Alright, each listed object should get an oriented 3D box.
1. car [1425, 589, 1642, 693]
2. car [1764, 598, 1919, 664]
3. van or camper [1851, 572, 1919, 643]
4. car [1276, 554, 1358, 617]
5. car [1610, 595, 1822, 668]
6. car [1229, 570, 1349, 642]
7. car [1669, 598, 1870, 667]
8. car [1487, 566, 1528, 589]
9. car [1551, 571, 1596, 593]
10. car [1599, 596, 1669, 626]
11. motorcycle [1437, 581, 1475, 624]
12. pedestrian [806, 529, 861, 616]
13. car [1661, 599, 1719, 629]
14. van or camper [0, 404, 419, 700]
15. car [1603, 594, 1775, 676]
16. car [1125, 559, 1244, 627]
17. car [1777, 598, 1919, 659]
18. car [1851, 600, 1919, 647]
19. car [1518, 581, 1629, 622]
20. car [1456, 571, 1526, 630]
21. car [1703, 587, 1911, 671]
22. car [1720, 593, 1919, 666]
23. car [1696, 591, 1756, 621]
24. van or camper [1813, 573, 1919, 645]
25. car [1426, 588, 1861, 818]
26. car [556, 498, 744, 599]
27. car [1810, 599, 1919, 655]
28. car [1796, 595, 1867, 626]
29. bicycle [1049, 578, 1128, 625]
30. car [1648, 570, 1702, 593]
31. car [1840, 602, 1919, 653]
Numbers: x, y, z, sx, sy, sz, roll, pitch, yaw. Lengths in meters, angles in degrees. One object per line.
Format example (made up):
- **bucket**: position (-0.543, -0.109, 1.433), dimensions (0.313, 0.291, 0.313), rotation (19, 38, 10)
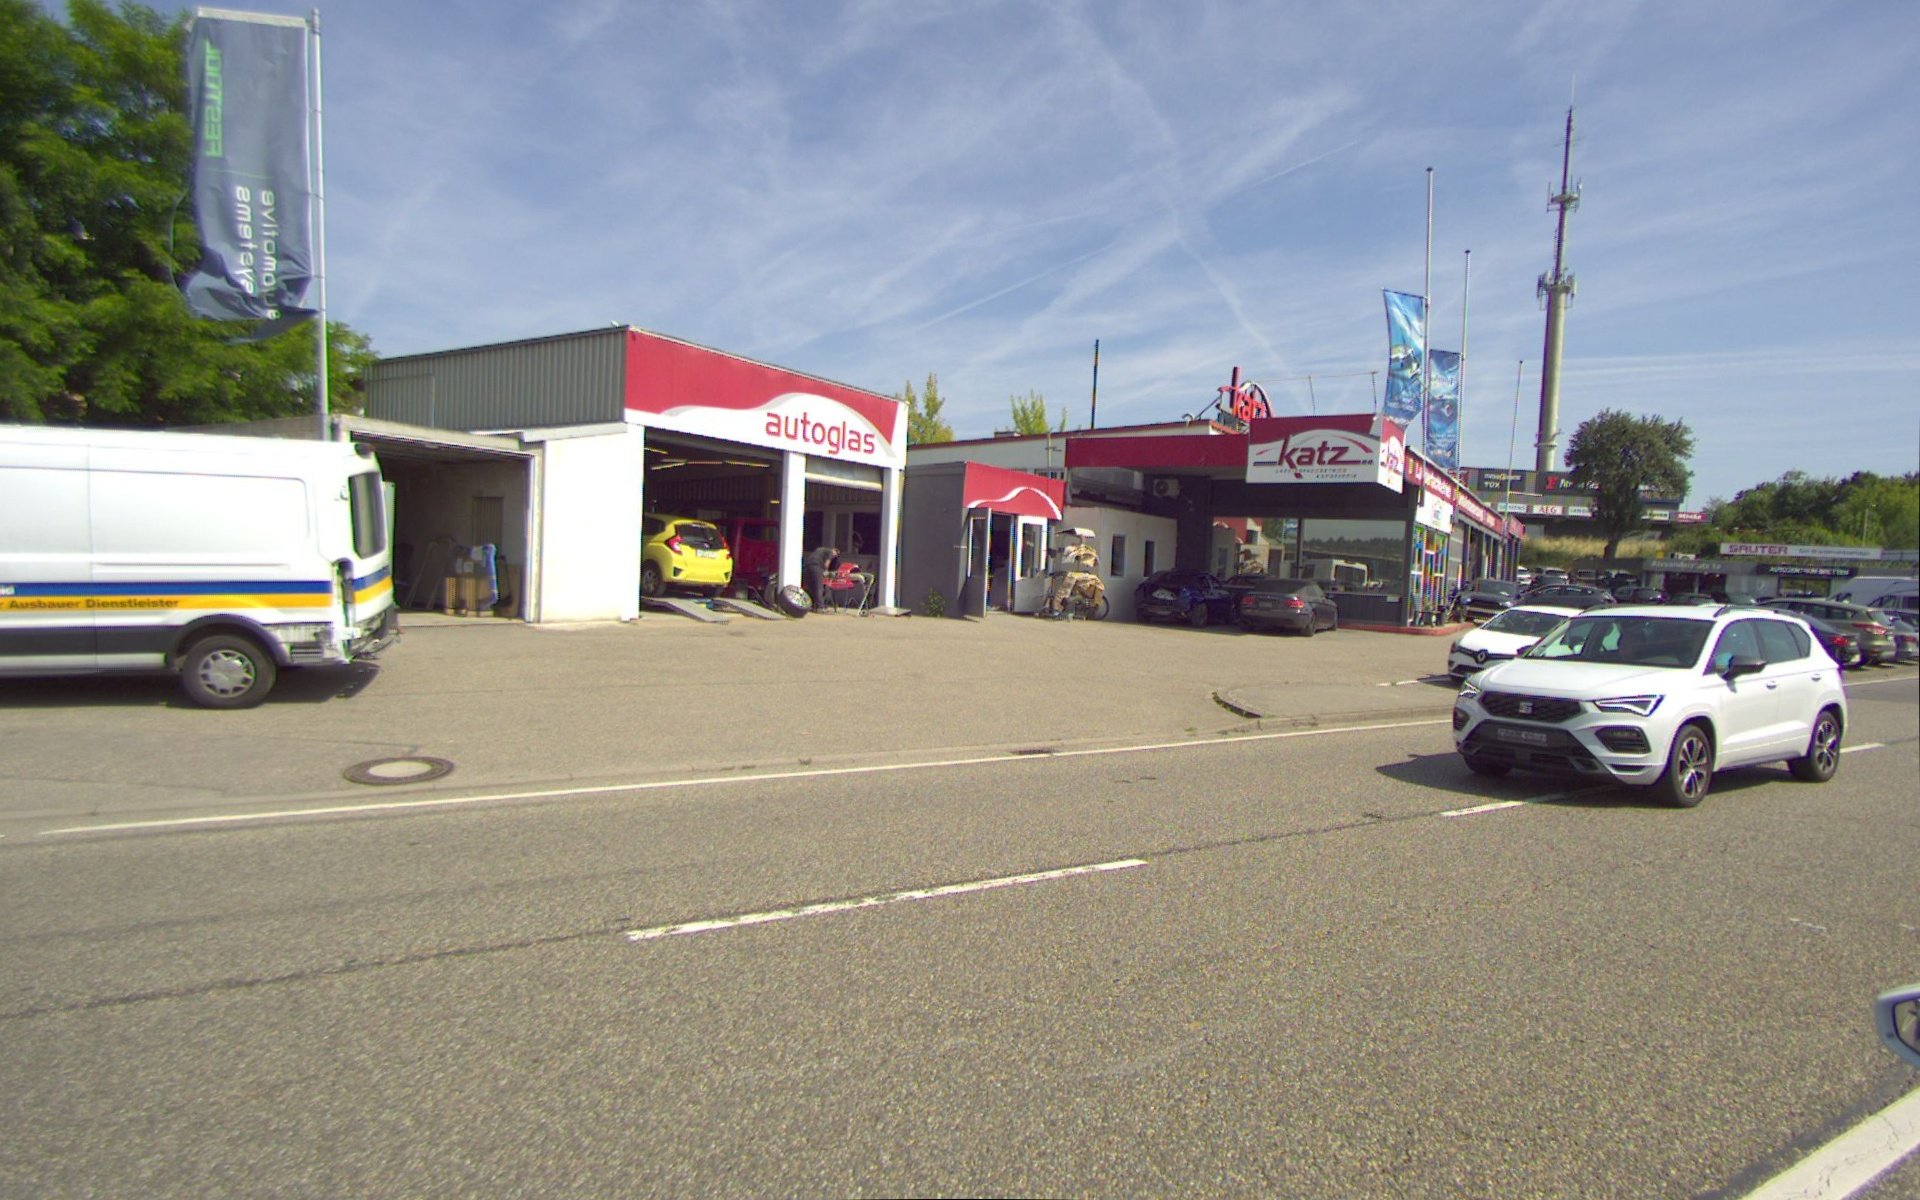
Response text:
- **car**: position (10.470, 0.701, 18.273), dimensions (3.957, 1.640, 1.768), rotation (1, 2, -33)
- **car**: position (27.069, 0.911, 30.081), dimensions (1.781, 1.505, 4.268), rotation (1, 5, -36)
- **van or camper**: position (38.991, 0.357, 39.673), dimensions (2.187, 2.768, 5.213), rotation (1, 2, -33)
- **car**: position (11.526, -0.477, 32.272), dimensions (1.674, 1.782, 3.753), rotation (6, 4, 30)
- **car**: position (18.462, 0.707, 24.675), dimensions (1.829, 1.546, 3.769), rotation (1, 2, -36)
- **car**: position (8.662, 0.070, 26.185), dimensions (1.828, 1.525, 4.383), rotation (6, 5, 33)
- **car**: position (20.715, 0.771, 25.830), dimensions (1.775, 1.546, 3.681), rotation (1, 1, -36)
- **car**: position (40.324, -1.664, 74.013), dimensions (1.701, 1.558, 3.750), rotation (3, 1, 14)
- **car**: position (44.289, -1.284, 72.608), dimensions (1.701, 1.470, 3.750), rotation (3, 1, 14)
- **car**: position (39.468, 0.642, 58.952), dimensions (1.733, 1.609, 3.830), rotation (2, 1, 5)
- **motorcycle**: position (15.579, 0.071, 31.523), dimensions (0.759, 1.278, 2.048), rotation (2, 1, 35)
- **pedestrian**: position (-2.698, -0.574, 21.377), dimensions (0.884, 1.786, 0.718), rotation (2, 2, -31)
- **car**: position (41.874, 0.780, 57.688), dimensions (1.735, 1.609, 3.827), rotation (2, 1, 22)
- **van or camper**: position (-8.647, -0.506, 9.548), dimensions (5.860, 2.533, 2.150), rotation (2, 5, -20)
- **car**: position (16.203, 0.749, 22.302), dimensions (3.741, 1.514, 1.768), rotation (1, 6, -33)
- **car**: position (6.142, -0.263, 27.233), dimensions (1.827, 1.525, 3.989), rotation (7, 6, 32)
- **car**: position (29.051, 0.915, 31.898), dimensions (1.755, 1.505, 4.427), rotation (1, 5, -36)
- **car**: position (34.797, 0.939, 36.184), dimensions (1.691, 1.505, 3.681), rotation (1, 5, -36)
- **car**: position (25.909, 0.043, 42.488), dimensions (3.882, 1.553, 1.764), rotation (2, 1, 33)
- **car**: position (18.425, 0.041, 34.747), dimensions (1.795, 1.696, 4.119), rotation (9, 4, 30)
- **car**: position (22.747, 0.713, 27.100), dimensions (1.789, 1.740, 3.858), rotation (1, 6, -36)
- **car**: position (24.665, 0.776, 28.735), dimensions (1.818, 1.505, 4.246), rotation (1, 5, -36)
- **car**: position (43.985, 0.320, 57.772), dimensions (1.735, 1.609, 3.827), rotation (2, 1, 22)
- **van or camper**: position (40.139, 0.375, 42.382), dimensions (2.266, 2.912, 5.853), rotation (0, 2, -34)
- **car**: position (6.378, 0.788, 9.294), dimensions (3.956, 1.697, 1.925), rotation (1, 0, -32)
- **car**: position (-6.346, -1.071, 20.448), dimensions (3.610, 1.748, 1.734), rotation (7, 4, 34)
- **car**: position (30.810, 0.912, 33.155), dimensions (1.785, 1.505, 3.817), rotation (1, 5, -36)
- **car**: position (48.350, 0.576, 55.817), dimensions (1.735, 1.609, 3.827), rotation (2, 1, 22)
- **bicycle**: position (3.319, 0.019, 26.029), dimensions (1.966, 0.984, 0.414), rotation (8, 5, 35)
- **car**: position (49.020, -1.234, 68.934), dimensions (1.701, 1.470, 3.750), rotation (3, 1, 14)
- **car**: position (32.982, 0.980, 34.582), dimensions (1.691, 1.577, 3.681), rotation (-1, 4, -36)
